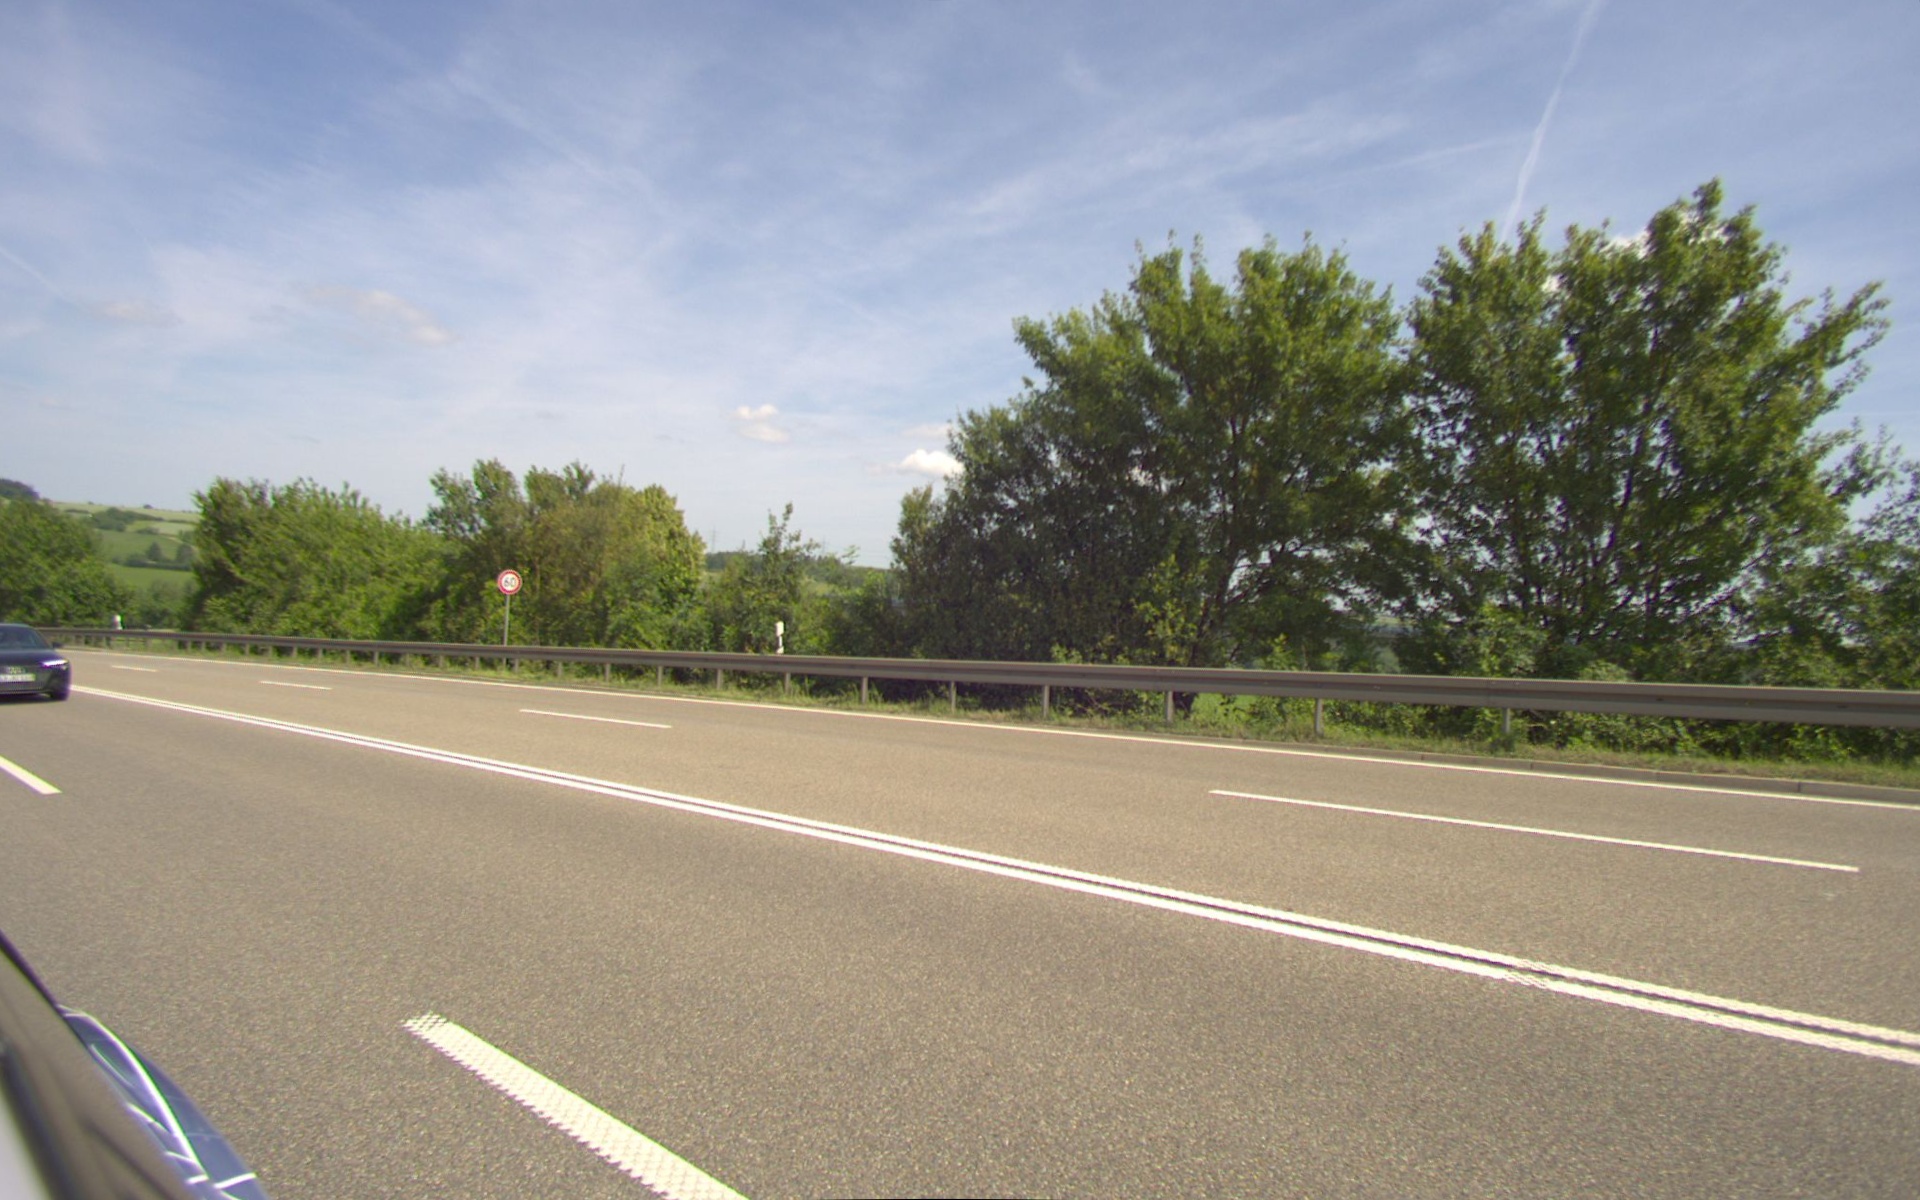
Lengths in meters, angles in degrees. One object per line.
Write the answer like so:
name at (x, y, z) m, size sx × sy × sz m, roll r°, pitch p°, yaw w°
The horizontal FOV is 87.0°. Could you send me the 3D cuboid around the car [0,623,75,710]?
car at (-18.205, 1.186, 18.821) m, size 4.803 × 1.483 × 1.689 m, roll -1°, pitch -1°, yaw 37°
